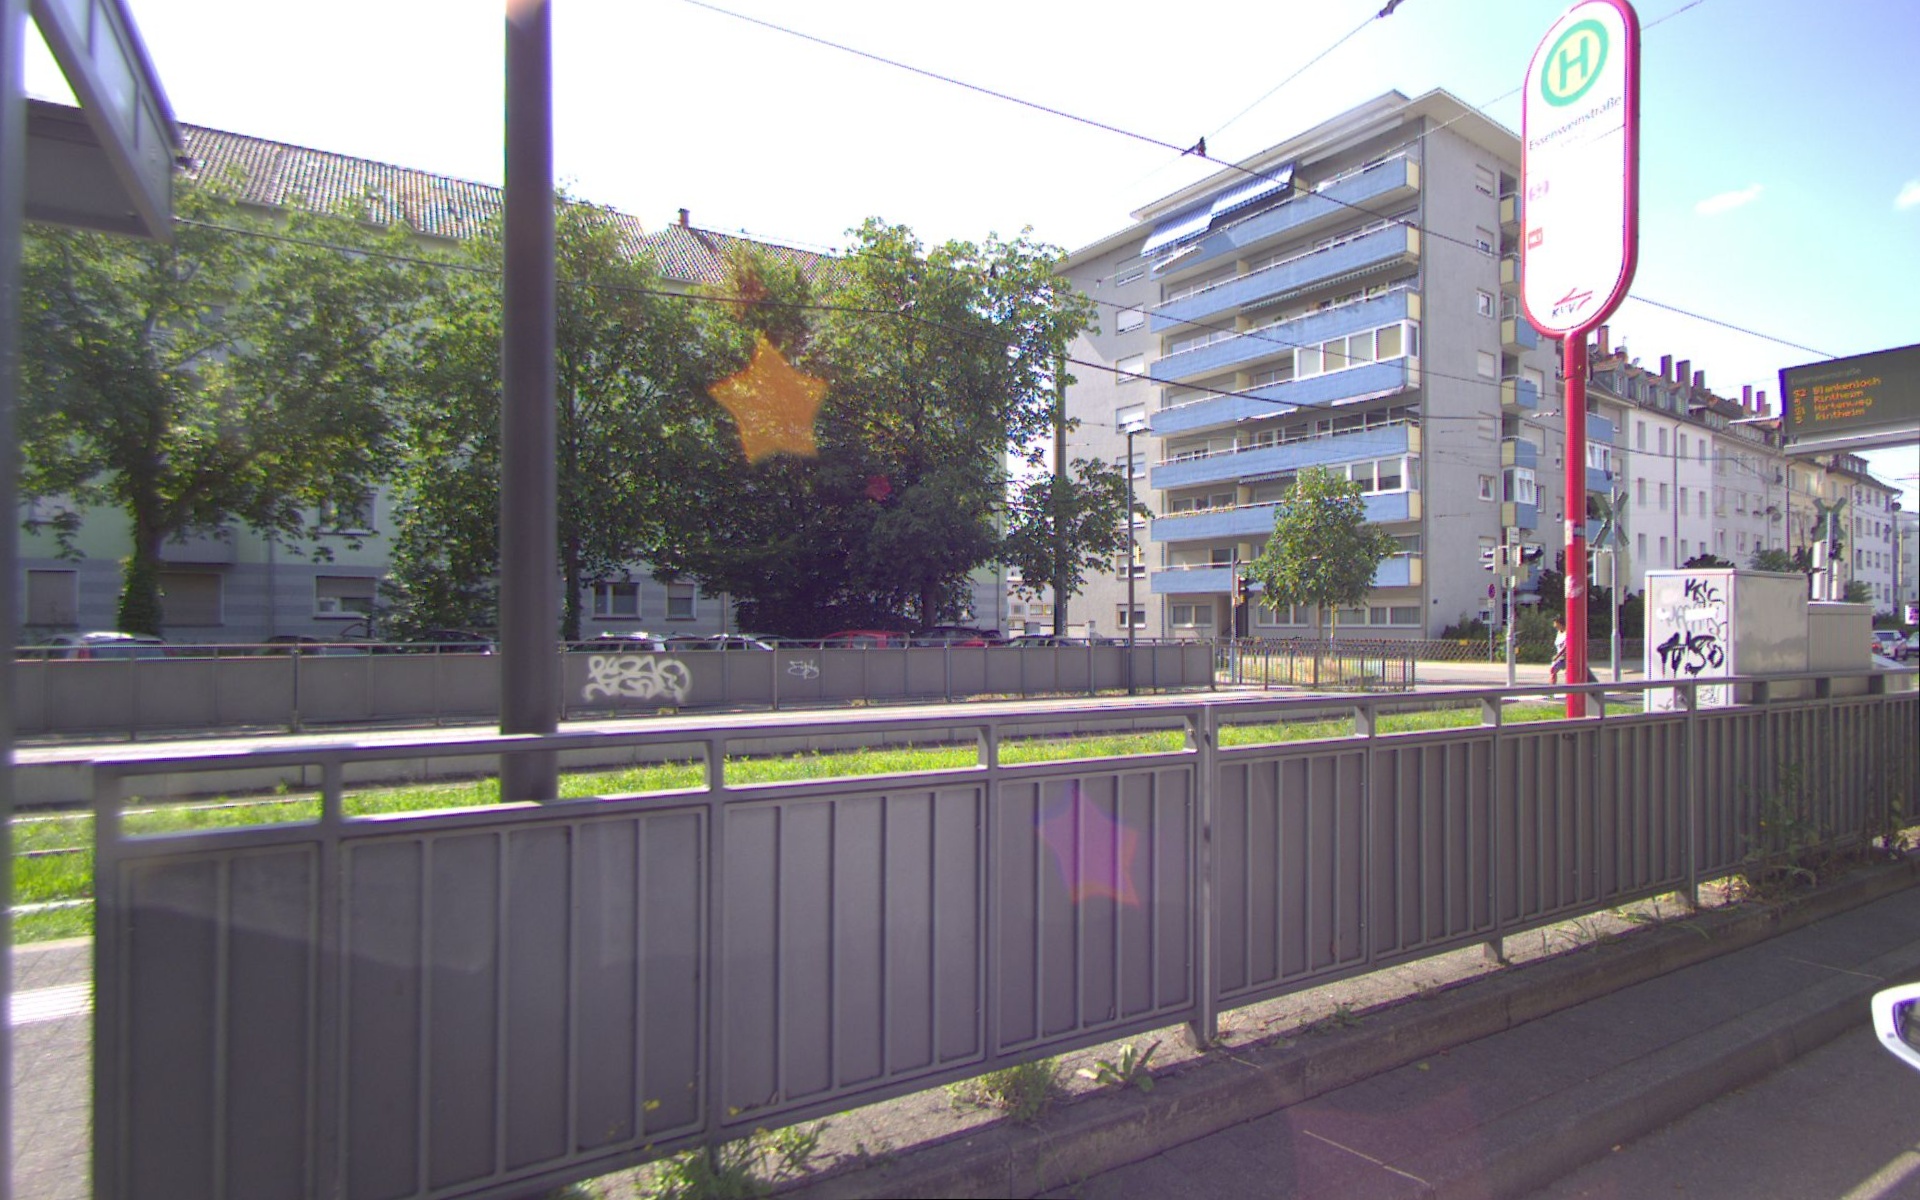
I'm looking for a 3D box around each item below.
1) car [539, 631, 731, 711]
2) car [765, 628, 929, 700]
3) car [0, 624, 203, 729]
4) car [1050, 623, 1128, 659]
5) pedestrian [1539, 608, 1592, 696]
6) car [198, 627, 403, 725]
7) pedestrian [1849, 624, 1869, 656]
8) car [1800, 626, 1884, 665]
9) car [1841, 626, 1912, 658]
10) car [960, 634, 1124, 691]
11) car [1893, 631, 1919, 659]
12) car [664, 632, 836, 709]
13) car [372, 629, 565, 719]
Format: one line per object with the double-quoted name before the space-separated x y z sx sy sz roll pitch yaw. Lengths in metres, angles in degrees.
"car" -6.814 1.411 20.996 3.957 1.534 1.606 -1 -2 30
"car" -2.710 1.469 23.944 3.601 1.600 1.646 -1 -1 29
"car" -14.858 1.222 17.069 3.879 1.600 1.716 -1 -1 28
"car" 6.735 2.101 52.594 1.978 1.706 3.965 2 0 -32
"pedestrian" 11.873 1.010 19.695 0.625 1.686 0.657 1 -2 -31
"car" -11.939 1.301 18.161 3.601 1.600 1.646 -1 -1 29
"pedestrian" 51.749 2.286 57.837 0.857 1.817 0.700 1 -2 -39
"car" 40.668 2.087 46.311 3.959 1.667 1.981 2 0 -35
"car" 45.491 2.063 49.826 3.959 1.461 1.757 2 0 -35
"car" 2.181 1.619 26.644 4.054 1.412 1.609 -1 -2 22
"car" 53.430 2.484 55.724 3.962 1.461 1.756 2 0 -36
"car" -4.728 1.518 22.531 3.601 1.600 1.646 -1 -1 29
"car" -9.624 1.371 19.624 3.601 1.600 1.646 -1 -1 29
